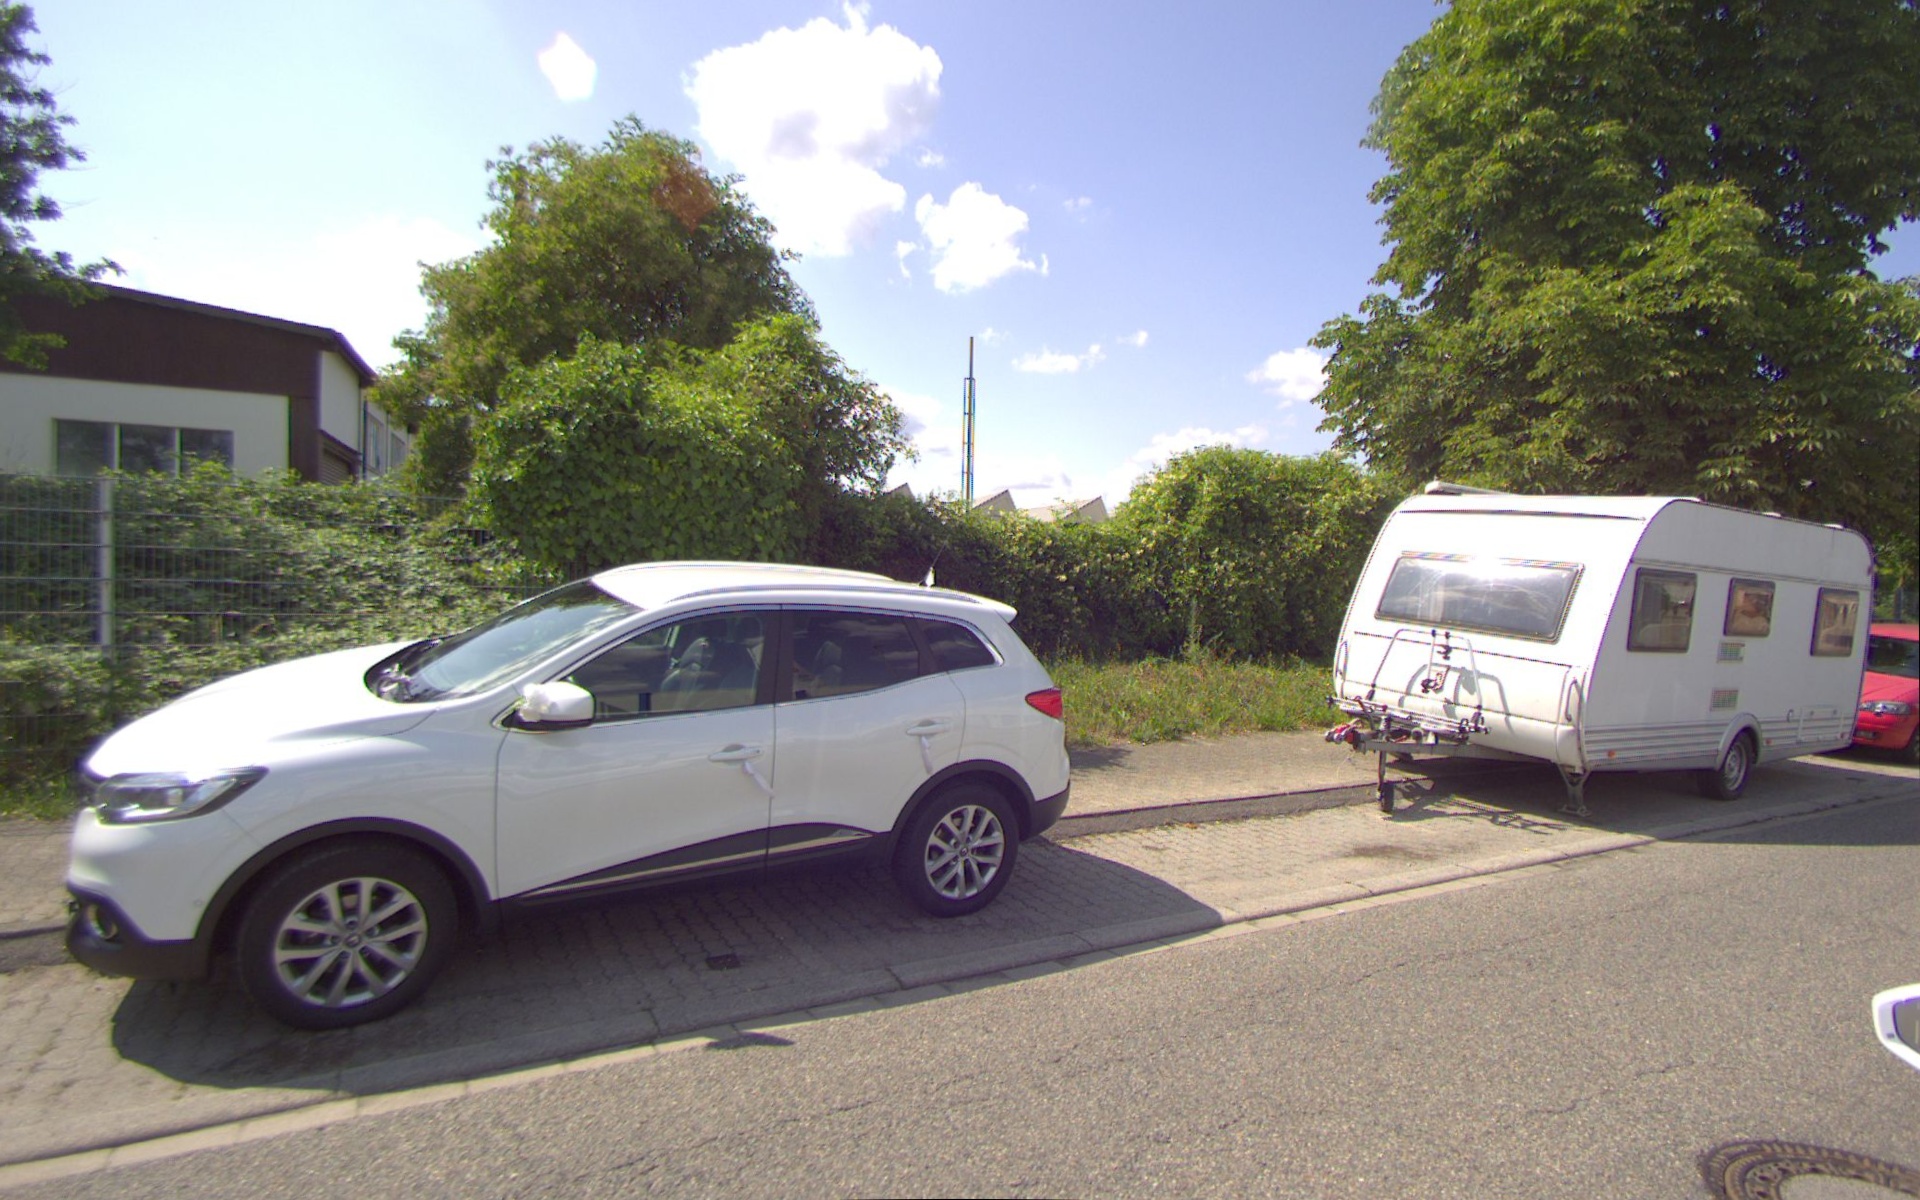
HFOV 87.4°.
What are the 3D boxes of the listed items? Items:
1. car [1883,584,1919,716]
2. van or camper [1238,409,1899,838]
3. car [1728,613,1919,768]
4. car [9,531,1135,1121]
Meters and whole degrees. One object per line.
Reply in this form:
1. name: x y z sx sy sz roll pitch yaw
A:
1. car: 17.022 0.894 15.983 4.900 1.981 1.889 1 6 -30
2. van or camper: 5.903 0.143 9.355 6.756 2.841 2.250 1 4 -32
3. car: 11.670 1.032 12.629 4.218 1.553 1.617 1 4 -30
4. car: -1.404 0.671 4.877 4.397 1.715 1.673 1 5 -33
